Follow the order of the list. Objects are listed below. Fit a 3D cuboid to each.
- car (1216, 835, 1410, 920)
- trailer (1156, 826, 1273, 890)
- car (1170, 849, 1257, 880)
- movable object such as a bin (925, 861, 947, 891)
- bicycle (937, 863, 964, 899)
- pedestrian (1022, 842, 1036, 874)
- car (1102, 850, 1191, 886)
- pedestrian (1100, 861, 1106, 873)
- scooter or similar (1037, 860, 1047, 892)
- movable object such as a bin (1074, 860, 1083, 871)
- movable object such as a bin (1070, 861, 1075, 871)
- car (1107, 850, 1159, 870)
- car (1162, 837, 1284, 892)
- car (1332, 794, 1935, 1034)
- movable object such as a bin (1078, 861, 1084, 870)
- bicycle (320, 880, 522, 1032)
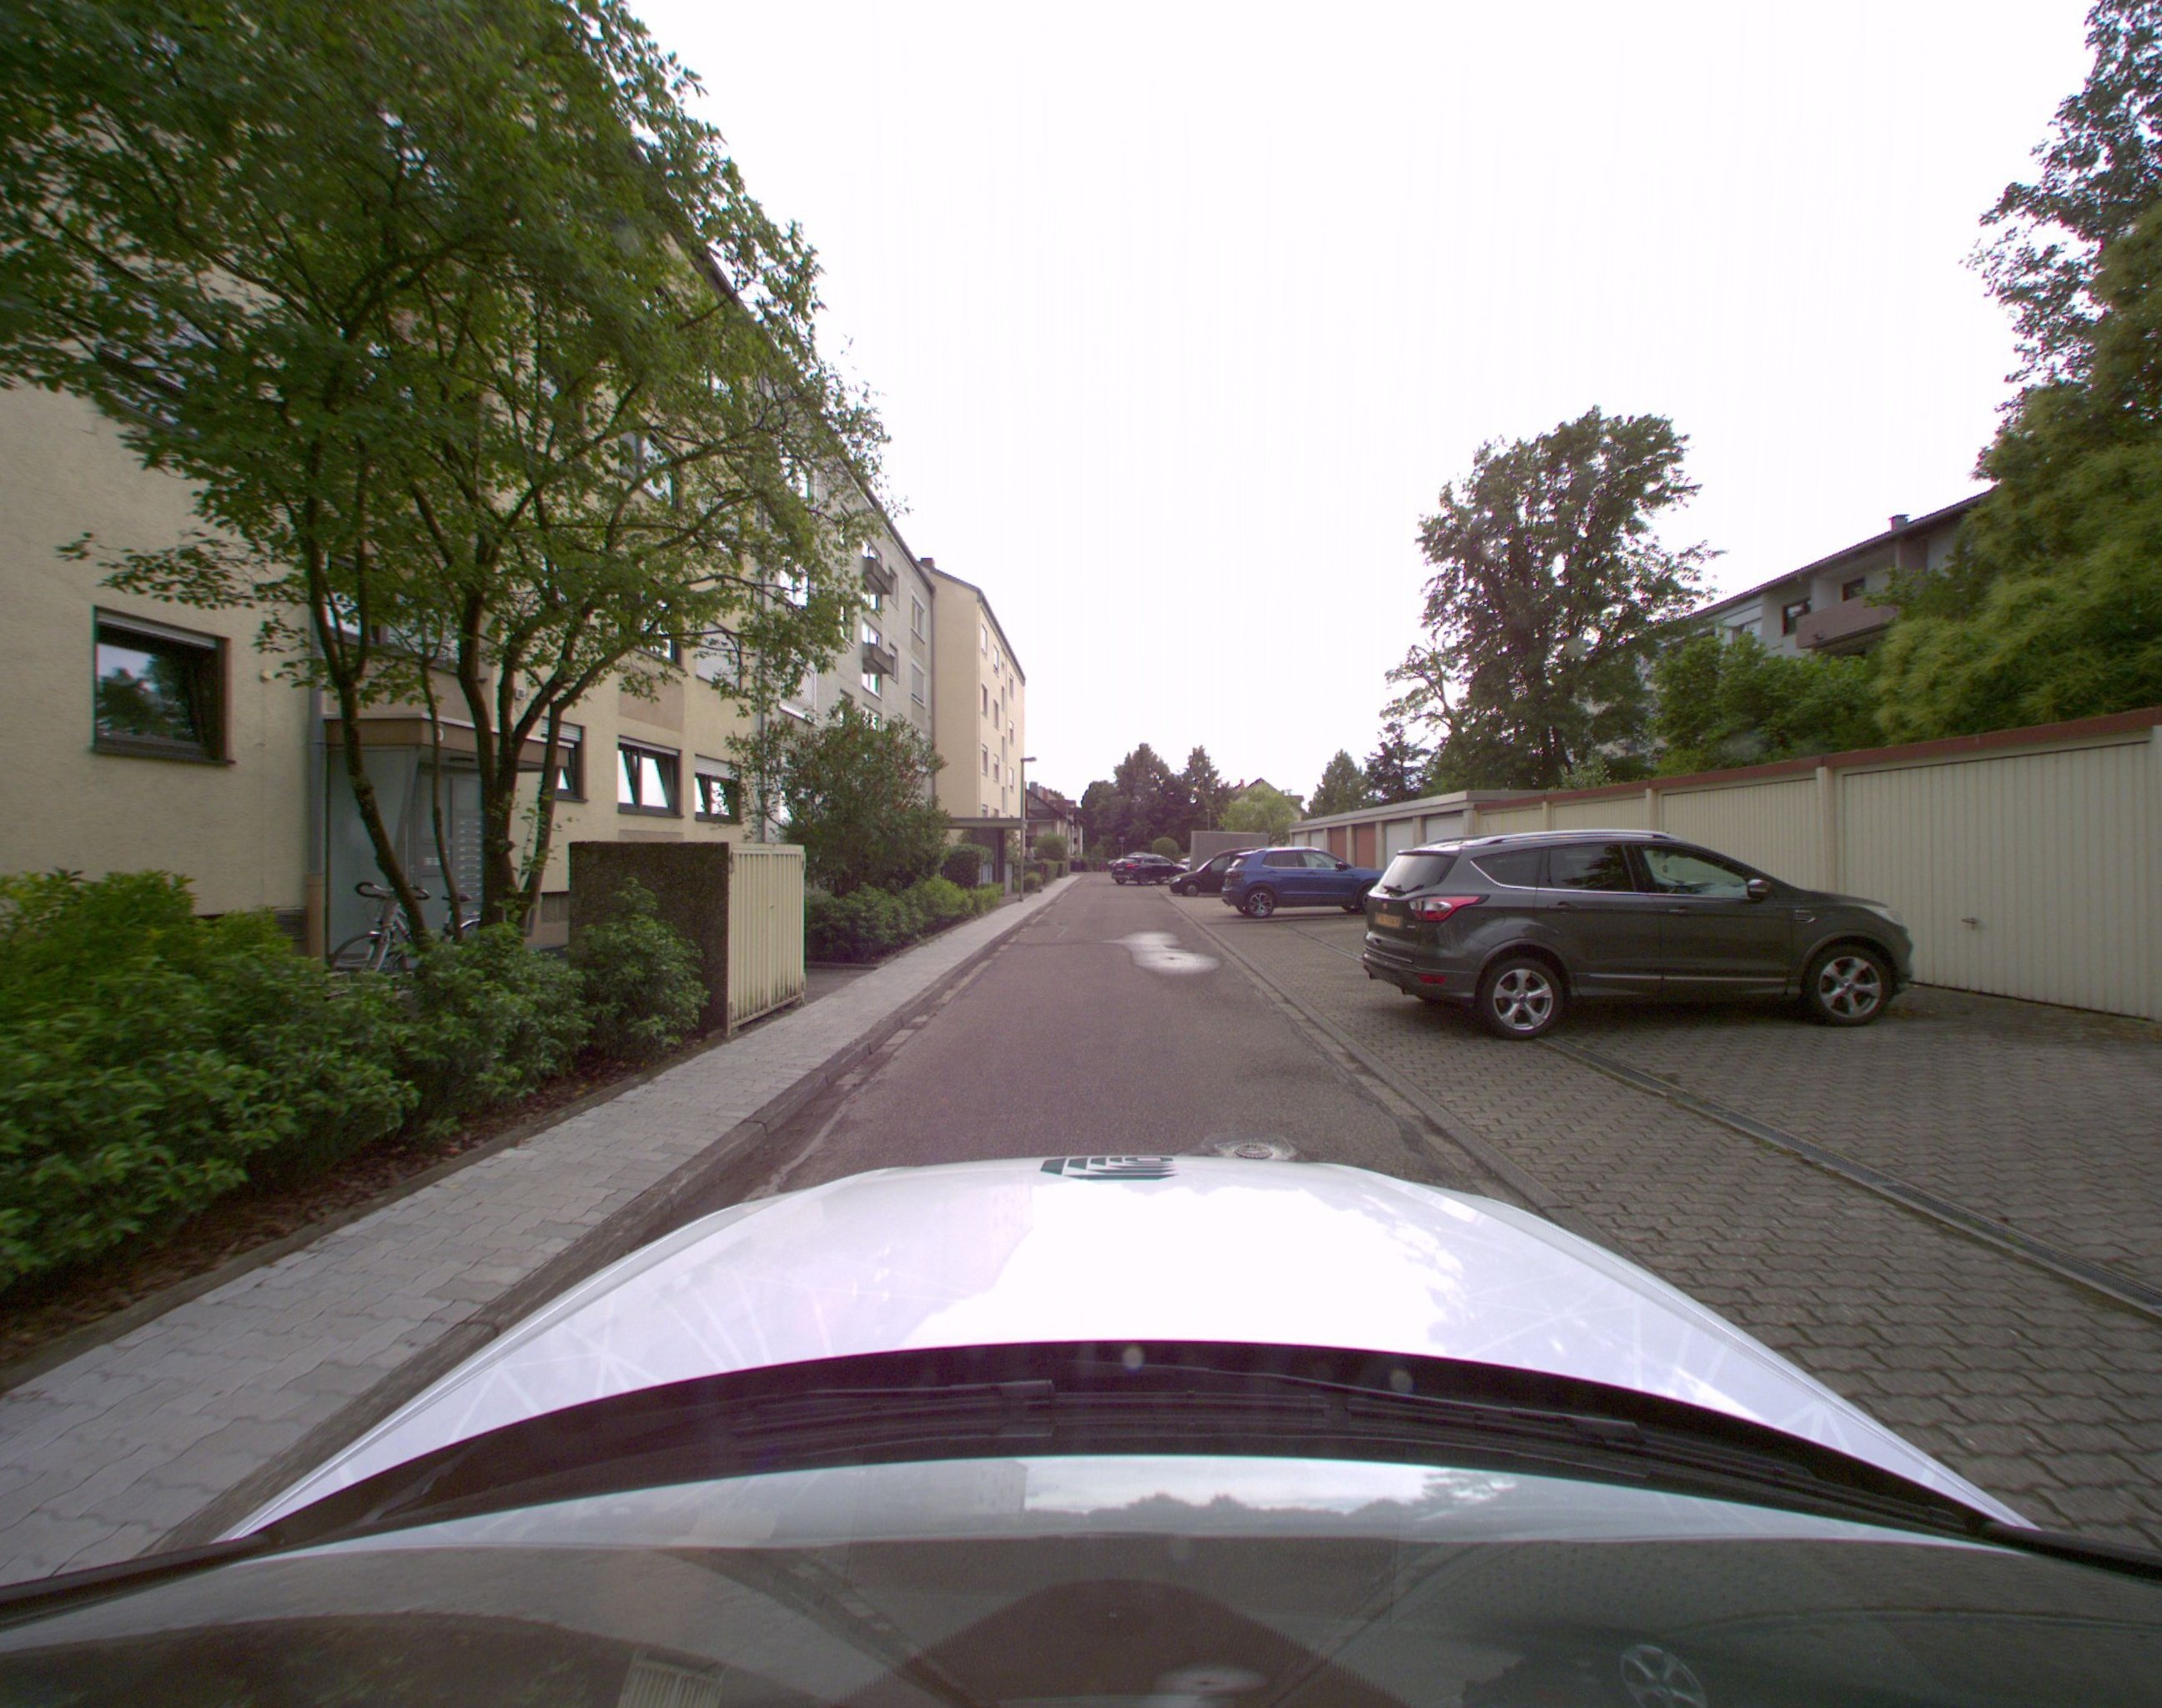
[{"bbox_3d":[5.341,0.524,19.194,3.973,1.703,2.001,-3,0,1],"label":"car"},{"bbox_3d":[5.471,0.159,33.778,4.591,2.525,1.944,0,0,2],"label":"trailer"},{"bbox_3d":[7.158,0.571,44.325,4.517,1.588,1.990,-1,0,3],"label":"car"},{"bbox_3d":[-5.184,0.784,29.147,0.621,1.034,0.590,-1,0,1],"label":"movable object such as a bin"},{"bbox_3d":[-4.016,0.818,25.127,0.451,1.034,1.548,1,0,3],"label":"bicycle"},{"bbox_3d":[-2.869,0.242,45.010,0.677,1.749,0.756,0,0,0],"label":"pedestrian"},{"bbox_3d":[3.268,0.679,40.510,4.013,1.552,1.980,-3,0,-31],"label":"car"},{"bbox_3d":[2.807,1.667,104.906,0.812,1.517,0.438,-1,-1,-1],"label":"pedestrian"},{"bbox_3d":[-1.499,0.838,31.600,0.272,1.211,1.165,-1,0,1],"label":"scooter or similar"},{"bbox_3d":[-0.228,0.967,70.357,0.731,0.953,0.584,0,0,1],"label":"movable object such as a bin"},{"bbox_3d":[-0.742,1.051,71.162,0.384,0.890,0.379,0,0,-1],"label":"movable object such as a bin"},{"bbox_3d":[4.301,0.517,67.467,4.221,1.531,1.747,0,-2,1],"label":"car"},{"bbox_3d":[5.352,0.374,31.100,4.295,1.802,2.001,-3,0,1],"label":"car"},{"bbox_3d":[4.750,0.479,7.559,4.180,1.727,2.001,-3,0,1],"label":"car"},{"bbox_3d":[-0.004,1.011,71.531,0.458,0.797,0.379,0,0,-1],"label":"movable object such as a bin"},{"bbox_3d":[-5.615,0.806,7.058,0.314,1.051,1.692,-1,2,1],"label":"bicycle"}]
